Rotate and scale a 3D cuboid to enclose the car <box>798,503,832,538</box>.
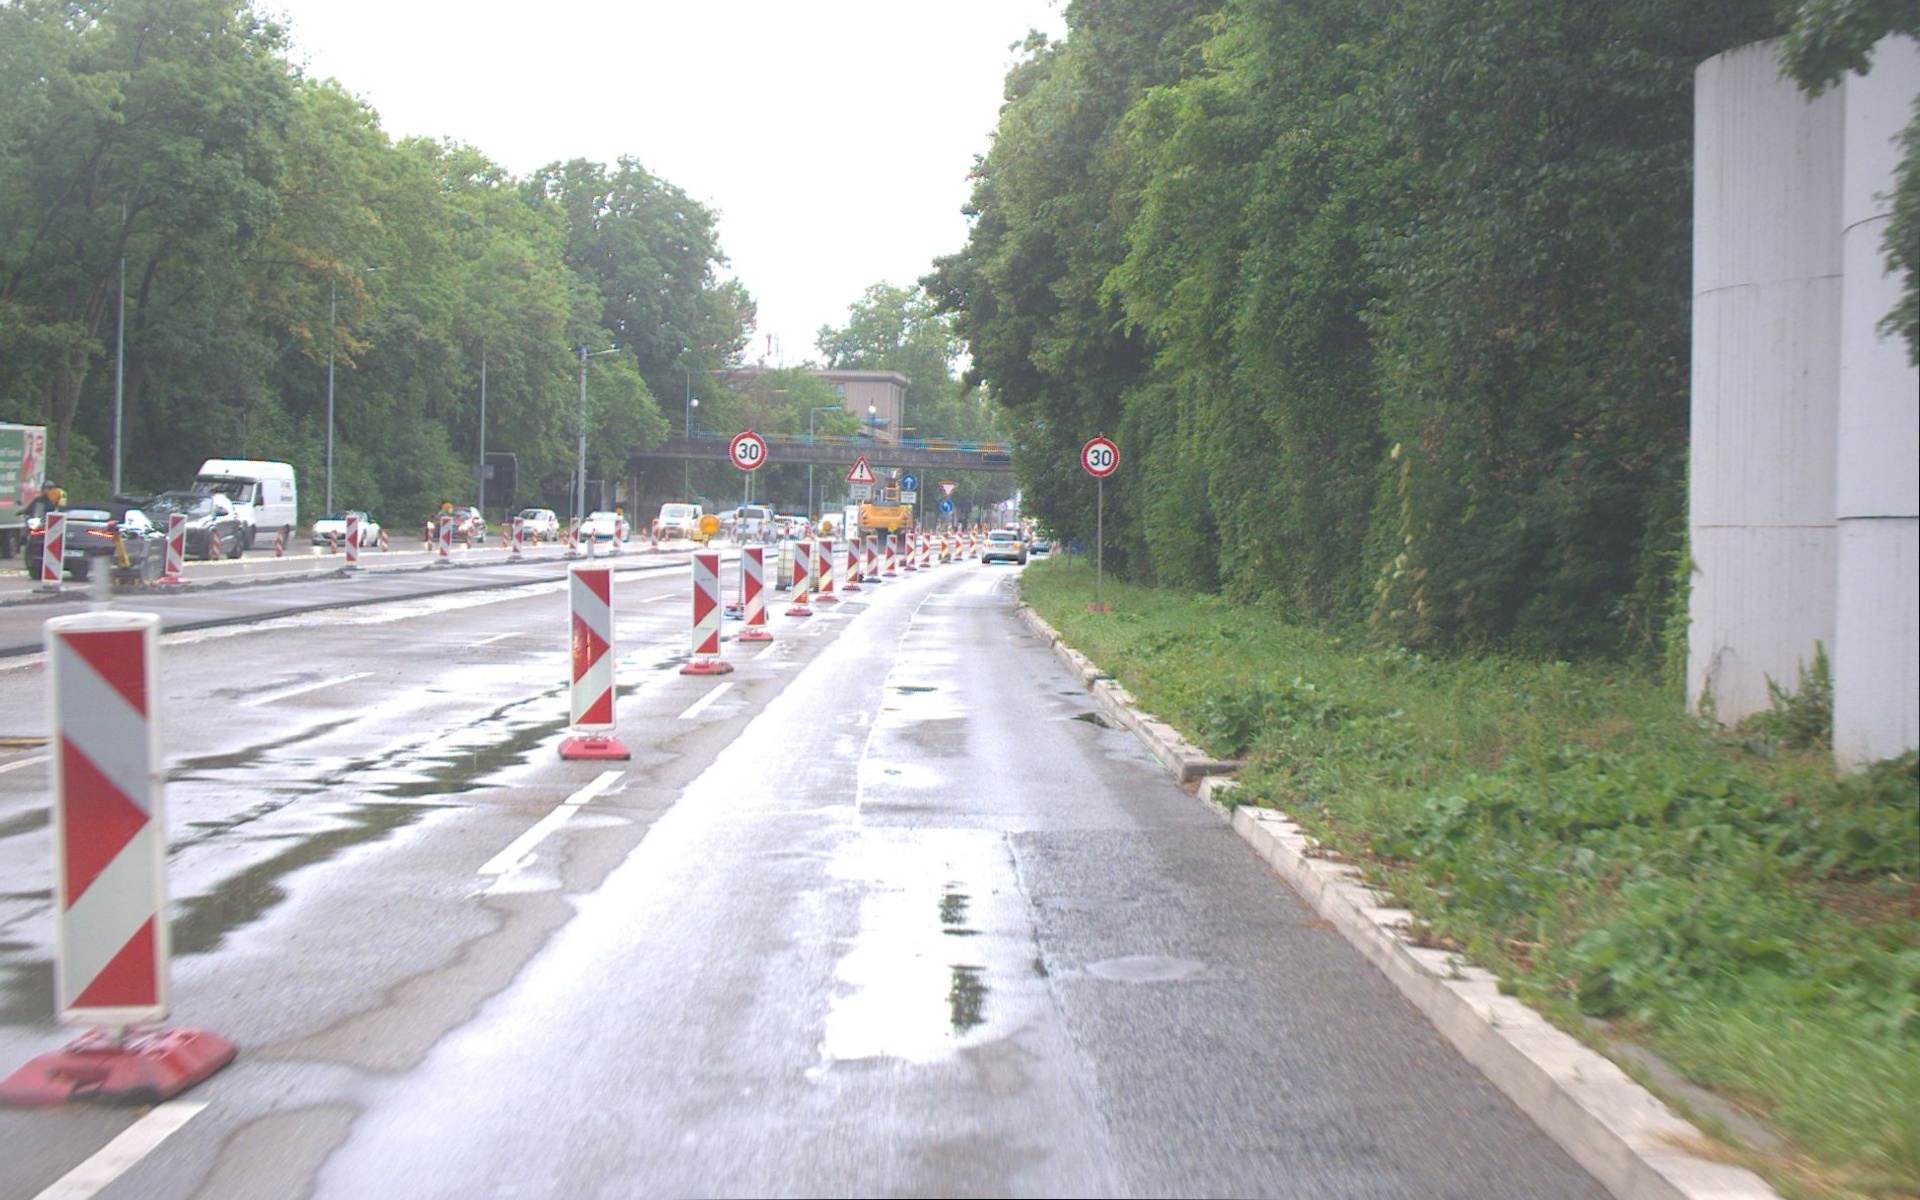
[{"bbox_3d":[-8.298,-4.573,197.576,1.670,1.802,4.321,1,3,1],"label":"car"}]

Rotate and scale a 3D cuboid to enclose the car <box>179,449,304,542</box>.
[{"bbox_3d":[-20.918,-3.067,100.363,2.100,2.571,6.854,1,2,1],"label":"car"}]

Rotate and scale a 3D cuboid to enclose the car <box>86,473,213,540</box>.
[{"bbox_3d":[-19.547,-2.274,83.078,1.960,1.525,4.437,1,2,1],"label":"car"}]

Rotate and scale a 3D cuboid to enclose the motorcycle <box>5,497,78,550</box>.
[{"bbox_3d":[-18.422,-1.546,69.000,0.828,1.011,2.367,2,2,0],"label":"motorcycle"}]

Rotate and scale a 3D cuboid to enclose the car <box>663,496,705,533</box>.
[{"bbox_3d":[-13.975,-4.344,174.043,1.670,1.802,4.320,1,2,1],"label":"car"}]

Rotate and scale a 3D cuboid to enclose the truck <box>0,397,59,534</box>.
[{"bbox_3d":[-21.718,-2.946,74.883,2.246,2.930,6.935,1,2,1],"label":"truck"}]

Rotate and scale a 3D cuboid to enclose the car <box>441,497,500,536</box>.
[{"bbox_3d":[-19.671,-3.366,138.155,1.670,1.480,4.320,1,2,1],"label":"car"}]

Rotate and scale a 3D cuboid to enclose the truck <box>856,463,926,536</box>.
[{"bbox_3d":[-3.426,-5.150,175.257,3.259,3.485,13.872,1,2,0],"label":"truck"}]

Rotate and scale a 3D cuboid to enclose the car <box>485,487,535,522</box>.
[{"bbox_3d":[-20.233,-4.311,154.671,1.670,1.480,4.050,1,2,1],"label":"car"}]

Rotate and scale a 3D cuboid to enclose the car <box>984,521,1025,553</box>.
[{"bbox_3d":[1.903,-2.724,148.501,1.697,1.331,3.491,-1,2,0],"label":"car"}]

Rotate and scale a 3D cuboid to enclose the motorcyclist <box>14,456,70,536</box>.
[{"bbox_3d":[-18.398,-2.085,68.919,0.828,1.559,0.927,2,2,0],"label":"motorcyclist"}]

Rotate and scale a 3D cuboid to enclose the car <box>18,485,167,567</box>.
[{"bbox_3d":[-15.751,-1.372,62.590,1.607,1.399,4.041,1,2,1],"label":"car"}]

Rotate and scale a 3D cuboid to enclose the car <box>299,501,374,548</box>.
[{"bbox_3d":[-20.916,-2.558,115.497,1.670,1.480,4.320,1,2,1],"label":"car"}]
